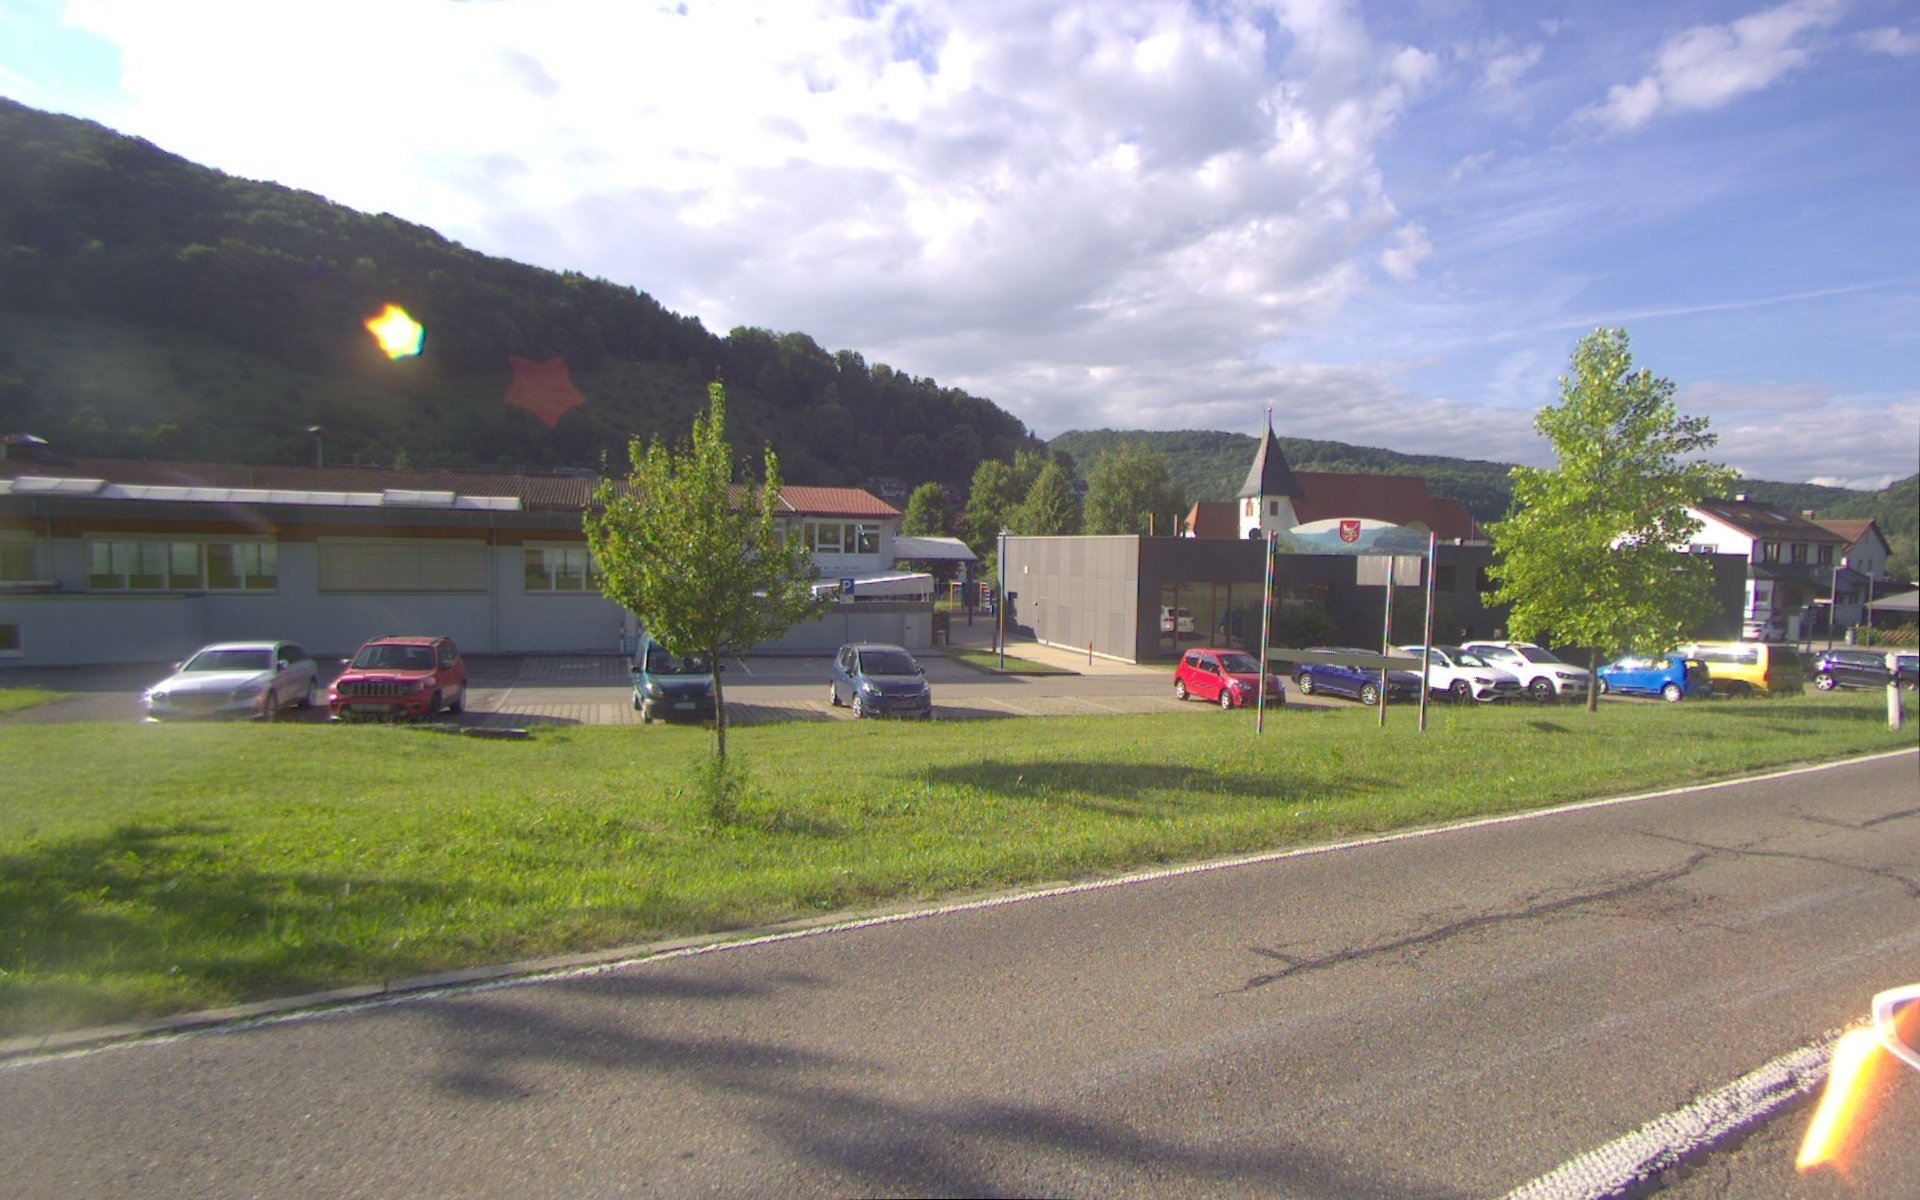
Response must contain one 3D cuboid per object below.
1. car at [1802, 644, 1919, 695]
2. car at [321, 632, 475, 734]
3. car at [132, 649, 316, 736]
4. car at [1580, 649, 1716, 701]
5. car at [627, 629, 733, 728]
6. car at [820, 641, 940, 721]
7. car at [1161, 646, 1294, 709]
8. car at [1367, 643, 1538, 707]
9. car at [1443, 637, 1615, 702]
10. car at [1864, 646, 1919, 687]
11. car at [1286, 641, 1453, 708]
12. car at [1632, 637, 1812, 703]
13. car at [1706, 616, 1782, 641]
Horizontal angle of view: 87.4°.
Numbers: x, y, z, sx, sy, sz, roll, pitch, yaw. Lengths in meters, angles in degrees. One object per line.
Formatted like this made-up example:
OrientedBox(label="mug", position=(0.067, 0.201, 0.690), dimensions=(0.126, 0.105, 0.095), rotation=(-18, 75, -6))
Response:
OrientedBox(label="car", position=(34.992, 2.610, 38.263), dimensions=(1.970, 1.659, 4.018), rotation=(2, 0, -21))
OrientedBox(label="car", position=(-11.359, 1.606, 20.616), dimensions=(1.818, 1.691, 4.319), rotation=(2, 0, -17))
OrientedBox(label="car", position=(-14.210, 1.729, 19.657), dimensions=(1.825, 1.386, 3.881), rotation=(2, -1, -20))
OrientedBox(label="car", position=(23.191, 2.496, 33.979), dimensions=(1.610, 1.492, 3.485), rotation=(2, 0, -23))
OrientedBox(label="car", position=(-6.474, 1.678, 22.859), dimensions=(1.661, 1.817, 4.980), rotation=(2, 0, -23))
OrientedBox(label="car", position=(-1.979, 1.827, 23.681), dimensions=(1.660, 1.471, 3.998), rotation=(-1, 1, -23))
OrientedBox(label="car", position=(7.195, 2.056, 27.374), dimensions=(1.592, 1.416, 3.714), rotation=(2, 0, -21))
OrientedBox(label="car", position=(14.884, 2.218, 30.658), dimensions=(1.970, 1.575, 4.531), rotation=(2, 0, -21))
OrientedBox(label="car", position=(17.982, 2.147, 31.992), dimensions=(1.970, 1.725, 4.531), rotation=(2, 0, -21))
OrientedBox(label="car", position=(39.243, 2.729, 39.782), dimensions=(1.853, 1.513, 4.805), rotation=(2, 0, -21))
OrientedBox(label="car", position=(11.850, 2.119, 29.428), dimensions=(1.970, 1.575, 4.531), rotation=(2, 0, -21))
OrientedBox(label="car", position=(25.896, 2.339, 34.371), dimensions=(1.968, 1.893, 4.607), rotation=(2, 0, -18))
OrientedBox(label="car", position=(52.414, 1.905, 67.163), dimensions=(3.928, 1.461, 1.767), rotation=(2, 0, -9))
